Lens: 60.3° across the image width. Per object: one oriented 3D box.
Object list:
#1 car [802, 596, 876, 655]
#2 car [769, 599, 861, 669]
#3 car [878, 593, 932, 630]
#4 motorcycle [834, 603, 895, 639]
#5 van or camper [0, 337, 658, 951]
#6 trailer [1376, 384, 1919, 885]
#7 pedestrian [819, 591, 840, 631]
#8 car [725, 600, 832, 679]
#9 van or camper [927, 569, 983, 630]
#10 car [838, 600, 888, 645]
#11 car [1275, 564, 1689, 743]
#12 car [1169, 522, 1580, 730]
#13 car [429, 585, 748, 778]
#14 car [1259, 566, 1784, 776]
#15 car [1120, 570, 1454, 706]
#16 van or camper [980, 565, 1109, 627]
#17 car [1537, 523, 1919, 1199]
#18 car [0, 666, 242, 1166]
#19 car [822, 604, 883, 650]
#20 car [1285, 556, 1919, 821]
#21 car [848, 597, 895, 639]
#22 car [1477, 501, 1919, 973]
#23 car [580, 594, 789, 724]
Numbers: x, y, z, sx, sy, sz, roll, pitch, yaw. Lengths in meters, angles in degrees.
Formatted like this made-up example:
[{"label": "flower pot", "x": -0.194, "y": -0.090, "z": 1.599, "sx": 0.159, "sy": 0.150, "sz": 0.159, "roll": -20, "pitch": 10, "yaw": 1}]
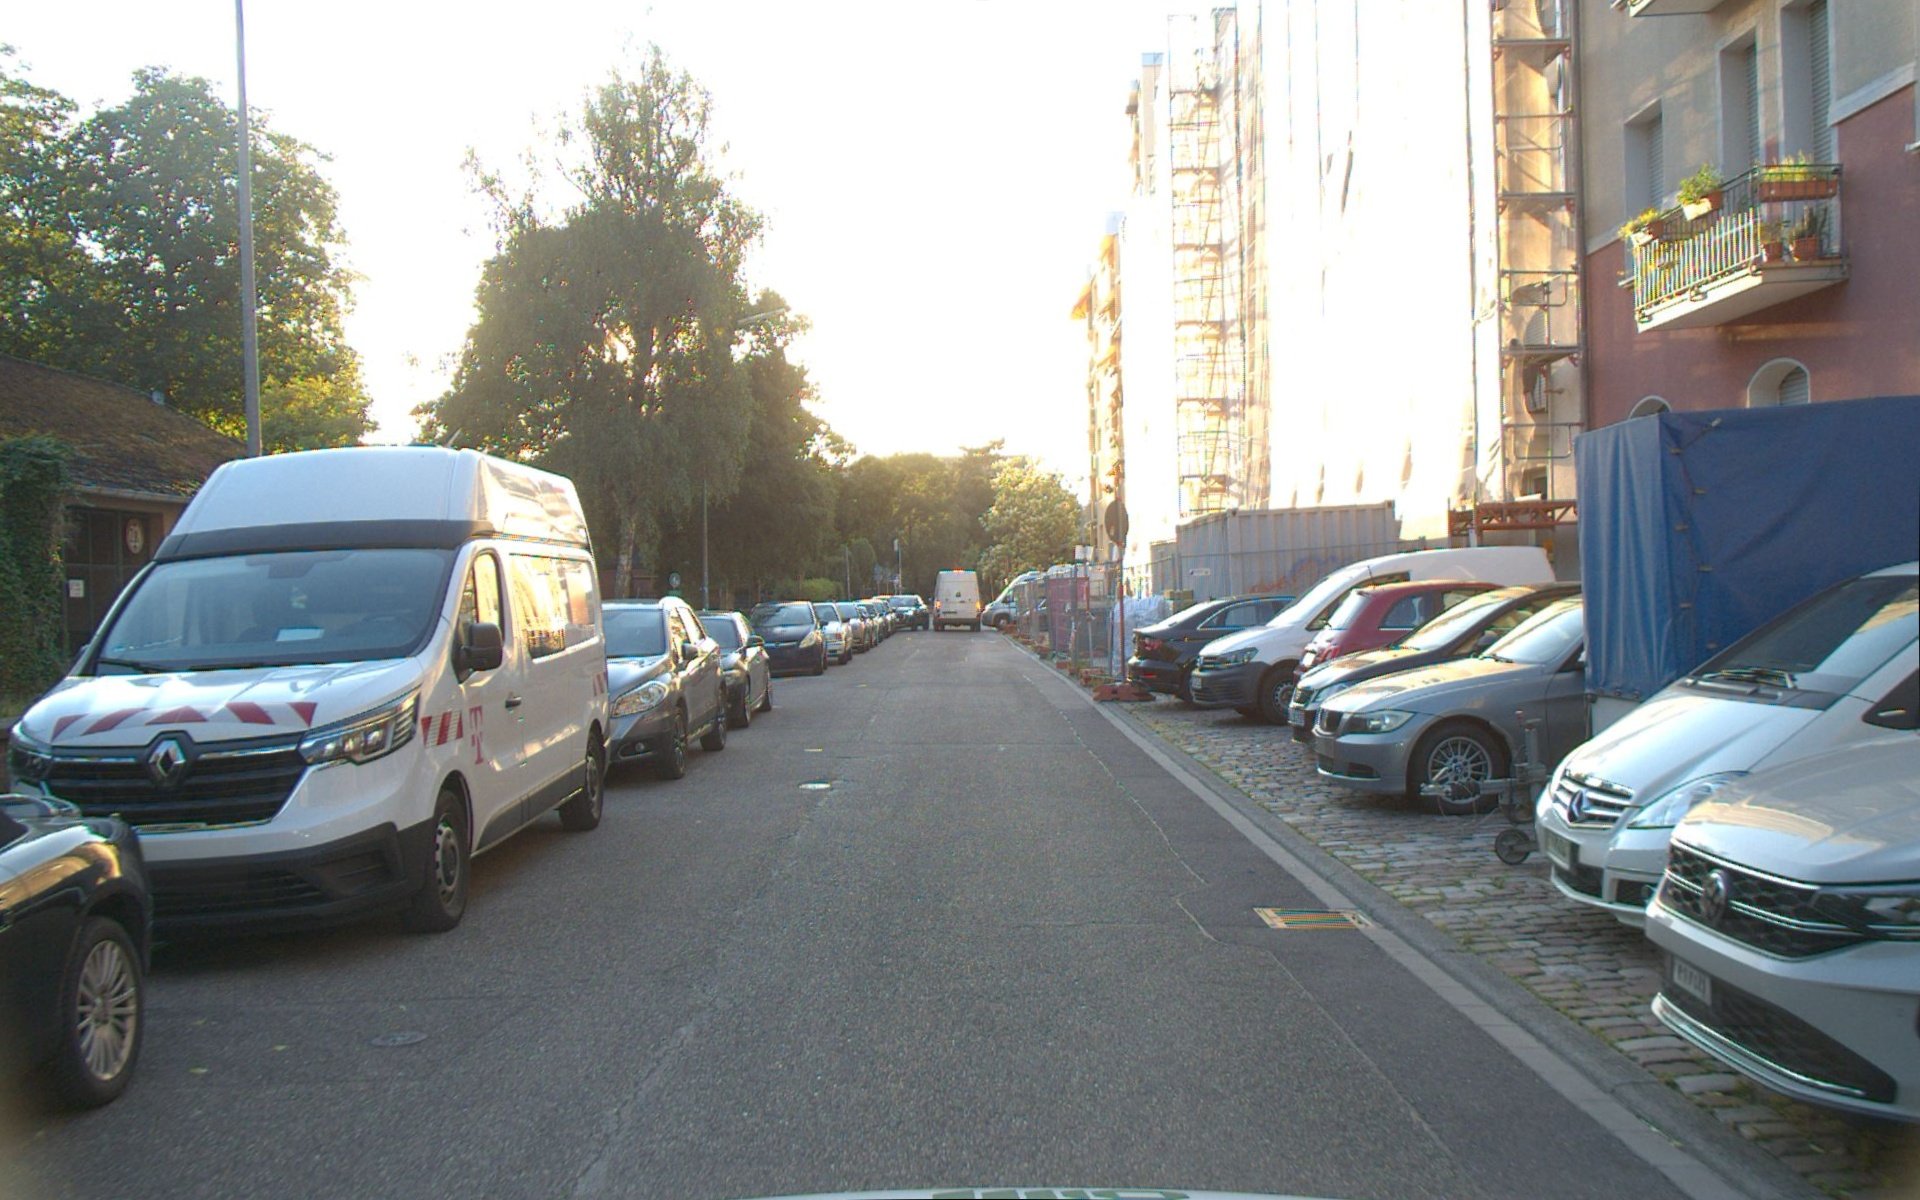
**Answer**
[{"label": "car", "x": -3.451, "y": 0.696, "z": 47.922, "sx": 1.822, "sy": 1.564, "sz": 4.758, "roll": -2, "pitch": 0, "yaw": -1}, {"label": "car", "x": -3.379, "y": 0.757, "z": 39.323, "sx": 1.746, "sy": 1.470, "sz": 4.747, "roll": -4, "pitch": 0, "yaw": -1}, {"label": "car", "x": -2.473, "y": 0.511, "z": 75.331, "sx": 1.766, "sy": 1.597, "sz": 4.568, "roll": -2, "pitch": 0, "yaw": 7}, {"label": "motorcycle", "x": -3.592, "y": 0.780, "z": 62.181, "sx": 2.118, "sy": 1.326, "sz": 0.880, "roll": 0, "pitch": 0, "yaw": 14}, {"label": "van or camper", "x": -3.324, "y": 0.163, "z": 9.861, "sx": 1.953, "sy": 2.500, "sz": 6.082, "roll": -1, "pitch": 0, "yaw": -1}, {"label": "trailer", "x": 4.421, "y": 0.120, "z": 9.324, "sx": 3.497, "sy": 2.377, "sz": 1.939, "roll": -3, "pitch": 0, "yaw": -4}, {"label": "pedestrian", "x": -6.075, "y": 0.494, "z": 76.820, "sx": 0.919, "sy": 1.862, "sz": 0.786, "roll": 0, "pitch": 0, "yaw": -2}, {"label": "car", "x": -3.642, "y": 0.751, "z": 33.817, "sx": 1.954, "sy": 1.478, "sz": 3.997, "roll": -1, "pitch": 0, "yaw": -3}, {"label": "van or camper", "x": -0.217, "y": -0.018, "z": 74.369, "sx": 2.403, "sy": 2.591, "sz": 6.083, "roll": 1, "pitch": 0, "yaw": 0}, {"label": "car", "x": -3.438, "y": 0.774, "z": 58.968, "sx": 1.569, "sy": 1.456, "sz": 3.802, "roll": -4, "pitch": 0, "yaw": -2}, {"label": "car", "x": 5.206, "y": 0.505, "z": 16.798, "sx": 3.618, "sy": 1.638, "sz": 1.744, "roll": -1, "pitch": 0, "yaw": -3}, {"label": "car", "x": 4.749, "y": 0.256, "z": 19.229, "sx": 4.187, "sy": 2.014, "sz": 1.819, "roll": -4, "pitch": 1, "yaw": -8}, {"label": "car", "x": -3.327, "y": 0.653, "z": 15.859, "sx": 1.953, "sy": 1.545, "sz": 4.789, "roll": -1, "pitch": 0, "yaw": 0}, {"label": "car", "x": 4.713, "y": 0.564, "z": 14.244, "sx": 3.885, "sy": 1.599, "sz": 1.788, "roll": -1, "pitch": 0, "yaw": -4}, {"label": "car", "x": 4.238, "y": 0.475, "z": 21.929, "sx": 4.067, "sy": 1.644, "sz": 1.872, "roll": -1, "pitch": 0, "yaw": 1}, {"label": "van or camper", "x": 3.874, "y": -0.203, "z": 76.297, "sx": 5.808, "sy": 2.818, "sz": 2.109, "roll": 0, "pitch": 0, "yaw": -1}, {"label": "car", "x": 3.951, "y": 0.633, "z": 4.667, "sx": 3.907, "sy": 1.668, "sz": 1.999, "roll": -1, "pitch": 0, "yaw": -2}, {"label": "car", "x": -3.434, "y": 0.867, "z": 3.975, "sx": 1.955, "sy": 1.210, "sz": 4.032, "roll": -1, "pitch": 0, "yaw": -5}, {"label": "car", "x": -3.432, "y": 0.825, "z": 53.208, "sx": 1.625, "sy": 1.336, "sz": 4.154, "roll": -2, "pitch": 0, "yaw": 0}, {"label": "car", "x": 4.524, "y": 0.575, "z": 11.937, "sx": 3.908, "sy": 1.666, "sz": 1.902, "roll": -1, "pitch": 0, "yaw": -4}, {"label": "car", "x": -3.467, "y": 0.701, "z": 65.376, "sx": 1.681, "sy": 1.522, "sz": 4.359, "roll": -3, "pitch": 0, "yaw": -1}, {"label": "car", "x": 4.578, "y": 0.498, "z": 7.313, "sx": 3.907, "sy": 1.758, "sz": 1.999, "roll": -1, "pitch": -1, "yaw": -2}, {"label": "car", "x": -3.424, "y": 0.676, "z": 21.353, "sx": 1.953, "sy": 1.478, "sz": 4.288, "roll": -1, "pitch": 0, "yaw": 0}]
